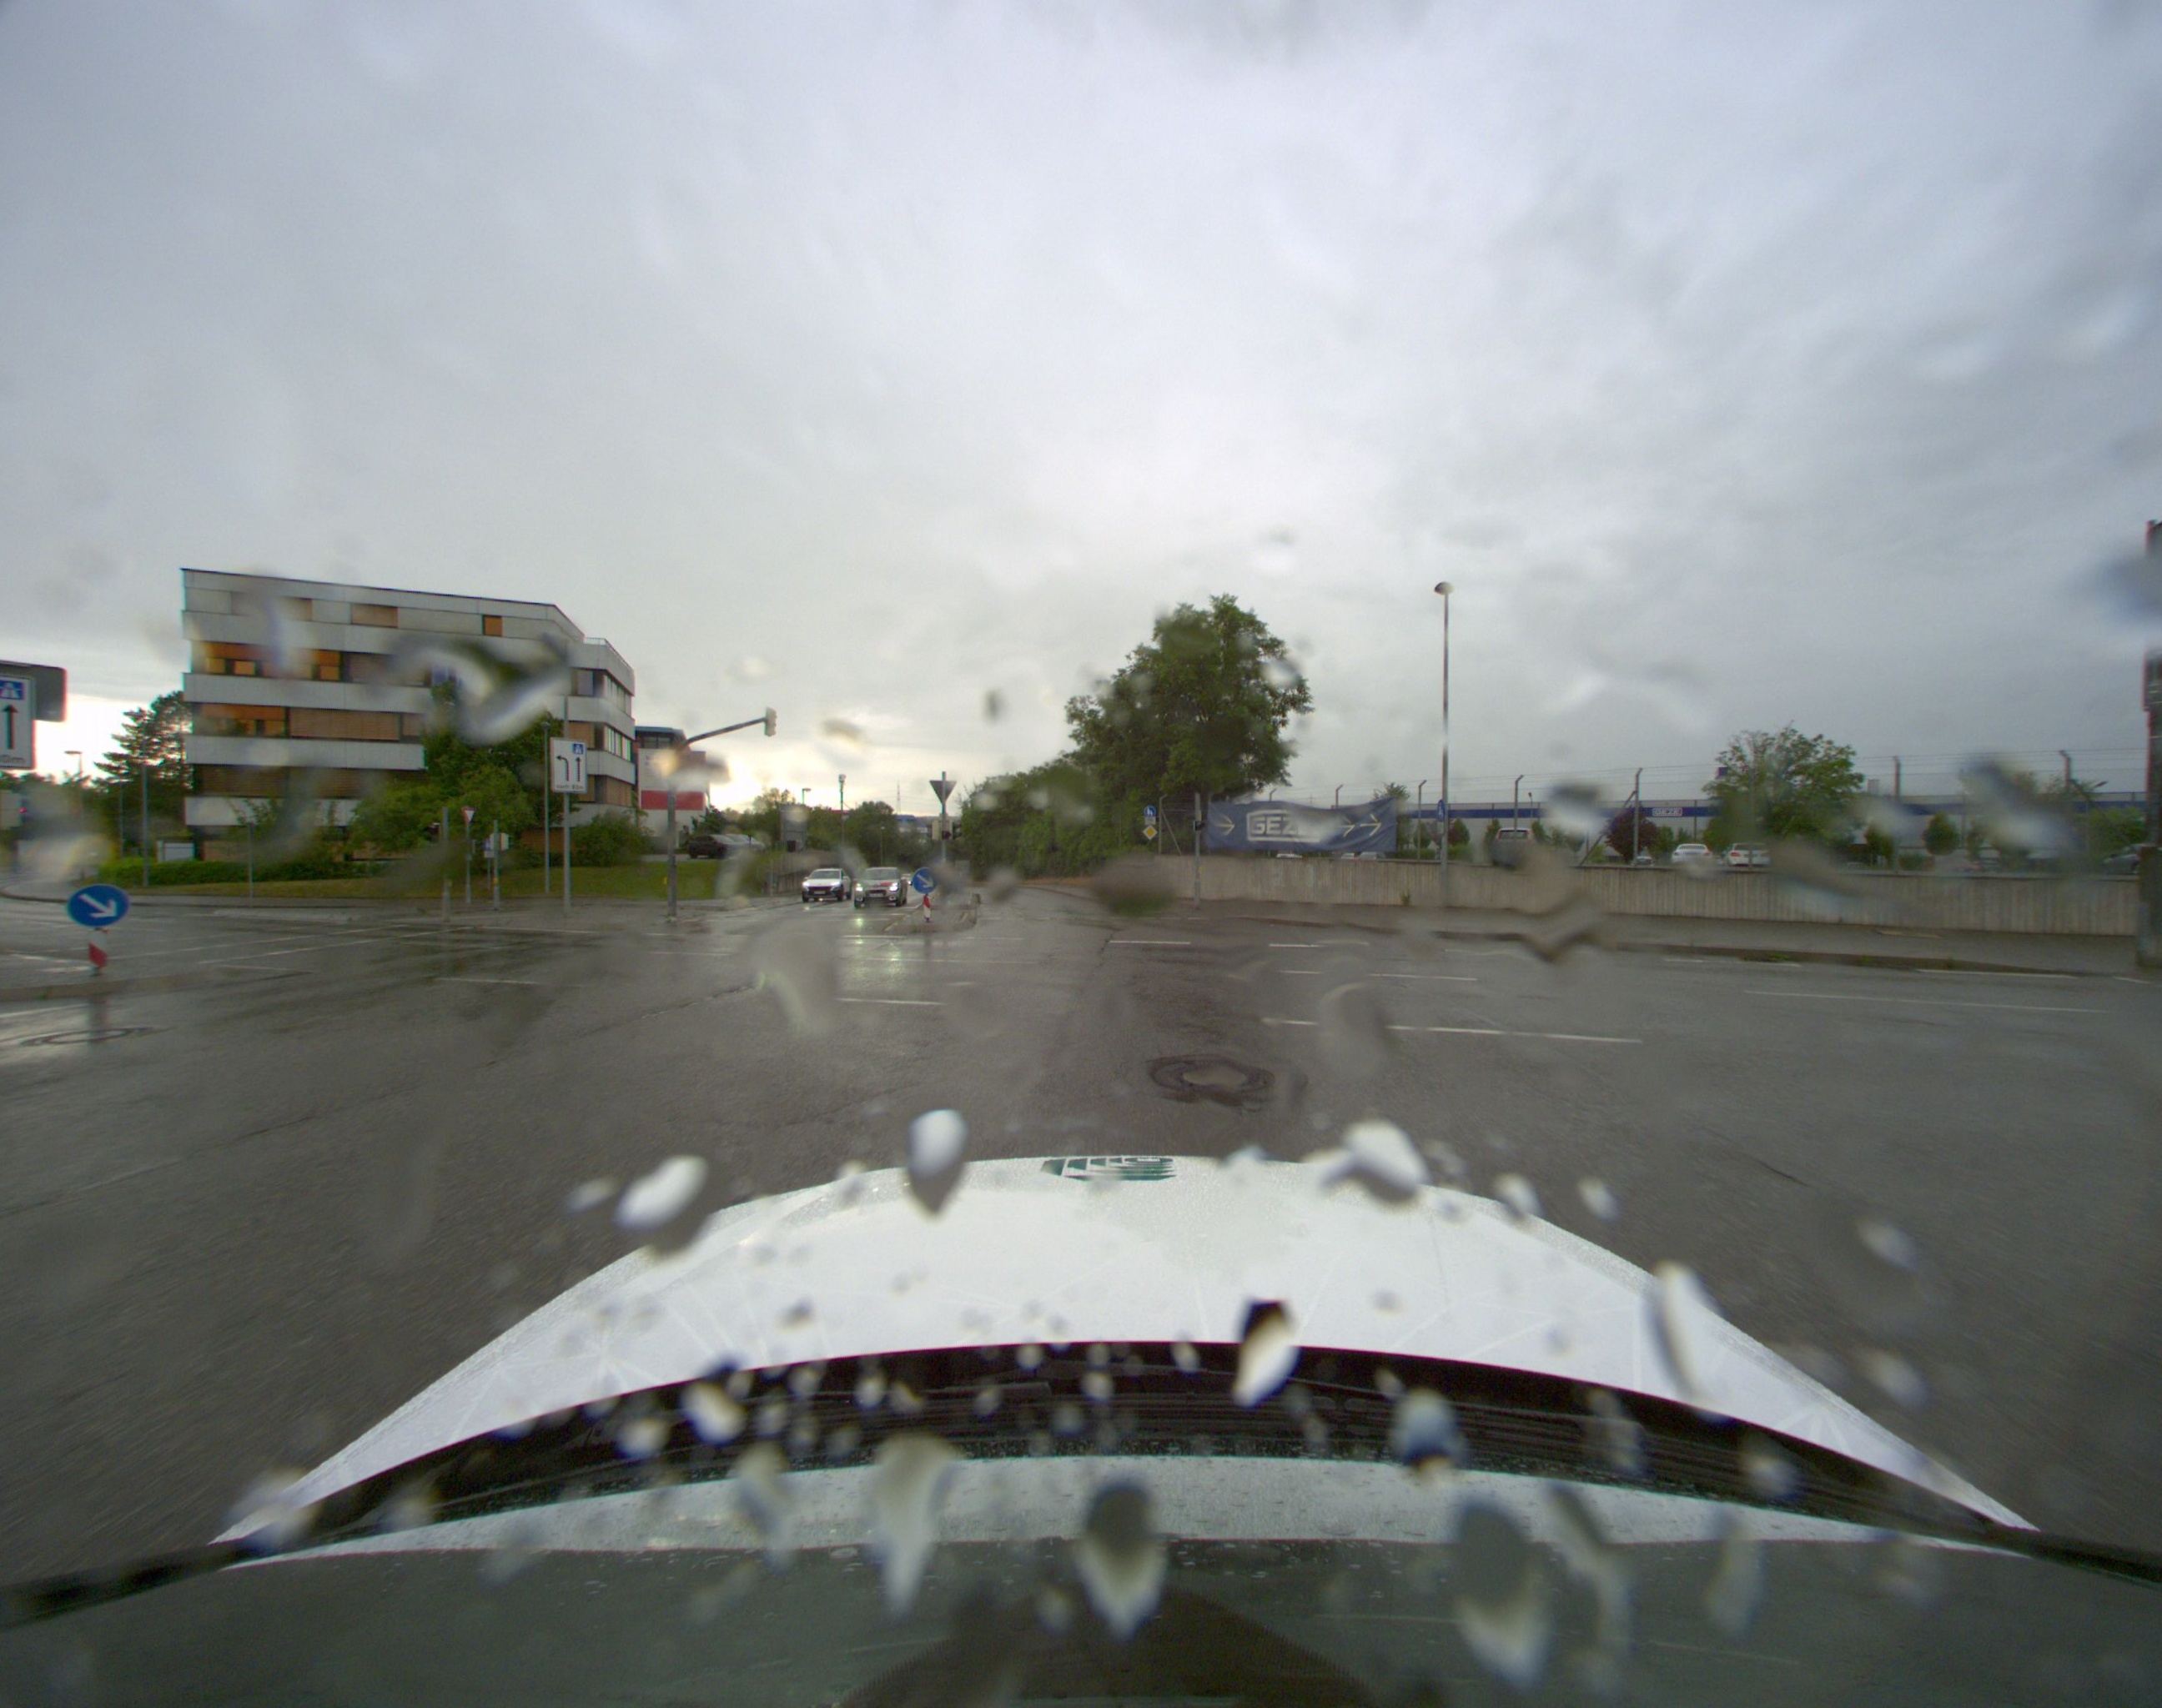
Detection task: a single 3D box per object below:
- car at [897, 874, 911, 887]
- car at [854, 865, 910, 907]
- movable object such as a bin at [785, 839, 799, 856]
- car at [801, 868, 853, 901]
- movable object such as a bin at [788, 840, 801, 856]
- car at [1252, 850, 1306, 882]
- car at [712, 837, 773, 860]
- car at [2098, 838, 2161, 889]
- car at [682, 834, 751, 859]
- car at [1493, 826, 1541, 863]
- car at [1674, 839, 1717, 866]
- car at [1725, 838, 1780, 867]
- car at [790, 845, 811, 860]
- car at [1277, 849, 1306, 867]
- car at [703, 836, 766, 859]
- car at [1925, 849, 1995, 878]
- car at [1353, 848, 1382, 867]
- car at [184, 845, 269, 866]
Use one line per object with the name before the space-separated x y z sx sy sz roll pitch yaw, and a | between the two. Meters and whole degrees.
car | -22.157 3.305 101.916 1.654 1.429 3.778 0 -1 -11
car | -7.516 1.170 31.069 1.660 1.494 3.989 0 -1 -7
movable object such as a bin | -26.403 -0.574 74.444 1.086 1.437 1.438 1 -2 -16
car | -12.187 1.443 39.276 1.719 1.494 3.989 0 -1 -7
movable object such as a bin | -26.684 -0.560 75.823 1.086 1.437 1.438 1 -2 -16
car | 10.488 0.622 43.020 1.726 1.570 3.553 -1 -1 31
car | -25.443 -0.412 61.181 3.952 1.586 1.912 0 -2 23
car | 43.954 0.371 33.299 1.726 2.014 3.847 -1 -1 31
car | -24.781 -0.475 55.425 3.954 1.586 1.911 0 -2 19
car | 19.661 -0.394 36.669 1.726 1.553 3.553 -1 -1 31
car | 34.129 -0.087 45.284 1.799 1.434 4.130 -1 -1 36
car | 36.426 -0.070 44.248 1.840 1.526 4.130 -1 -1 33
car | -29.286 -0.146 85.013 1.831 1.442 3.977 1 -2 -16
car | 19.595 0.403 75.847 1.650 1.606 3.553 -1 -1 31
car | -24.789 -0.442 58.250 3.952 1.586 1.912 0 -2 23
car | 50.707 0.524 47.052 1.904 1.589 3.813 0 0 33
car | 25.203 0.317 71.524 1.650 1.606 3.553 -1 -1 31
car | -61.368 0.093 58.577 3.773 1.399 1.980 0 0 -32
